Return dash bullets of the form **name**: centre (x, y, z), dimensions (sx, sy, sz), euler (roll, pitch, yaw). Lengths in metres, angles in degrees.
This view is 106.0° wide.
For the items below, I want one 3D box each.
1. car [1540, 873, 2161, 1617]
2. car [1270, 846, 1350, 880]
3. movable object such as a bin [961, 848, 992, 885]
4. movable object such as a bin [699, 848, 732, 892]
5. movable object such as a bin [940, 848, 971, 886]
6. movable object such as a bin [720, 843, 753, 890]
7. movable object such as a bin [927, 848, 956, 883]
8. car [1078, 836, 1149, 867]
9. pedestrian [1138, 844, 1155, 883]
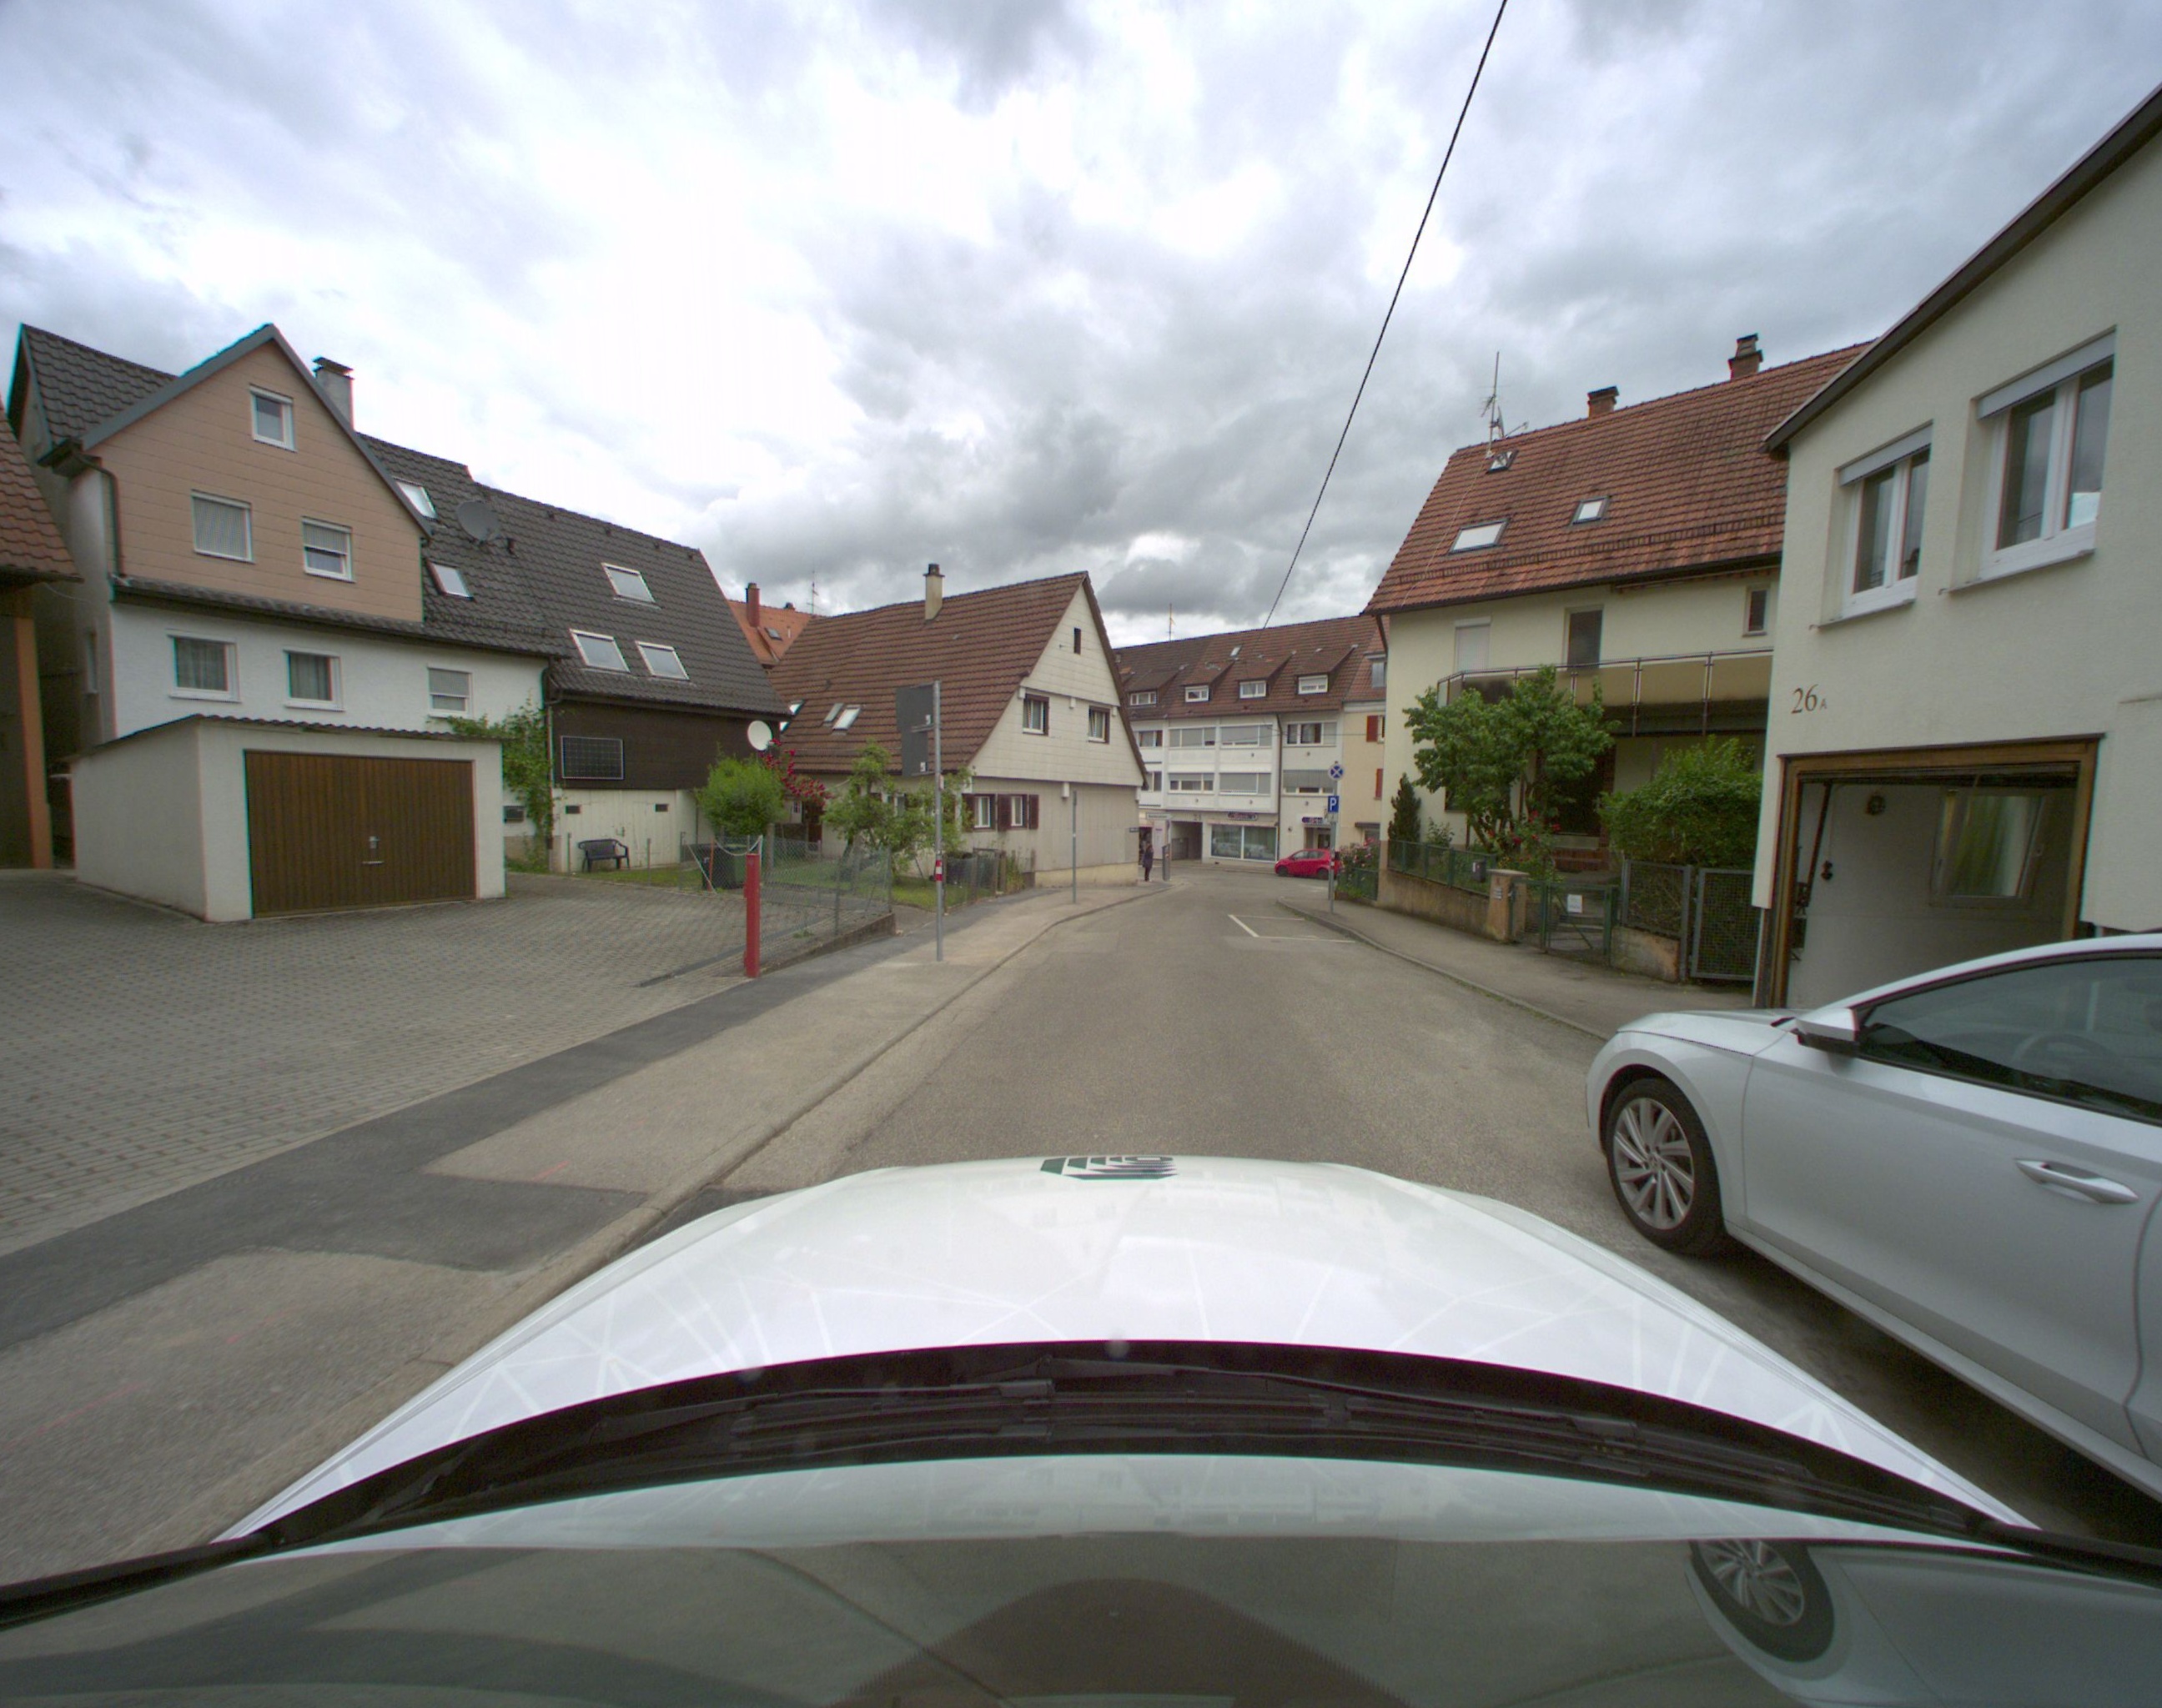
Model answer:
- **car**: centre (3.111, 0.859, 1.858), dimensions (1.788, 1.445, 4.300), euler (3, 0, 2)
- **car**: centre (12.024, 0.443, 42.967), dimensions (1.707, 1.556, 3.650), euler (0, 2, -45)
- **movable object such as a bin**: centre (-2.707, 0.323, 21.053), dimensions (0.522, 0.884, 0.493), euler (6, 0, 33)
- **movable object such as a bin**: centre (-7.551, 0.318, 16.841), dimensions (0.373, 0.893, 0.492), euler (1, 0, 21)
- **movable object such as a bin**: centre (-3.266, 0.336, 21.211), dimensions (0.522, 0.917, 0.493), euler (6, 0, 33)
- **movable object such as a bin**: centre (-7.344, 0.267, 17.358), dimensions (0.395, 0.981, 0.511), euler (0, 0, 21)
- **movable object such as a bin**: centre (-3.690, 0.313, 21.554), dimensions (0.490, 0.878, 0.455), euler (6, 0, 34)
- **car**: centre (2.027, -0.191, 51.937), dimensions (4.315, 1.779, 1.959), euler (3, 3, 44)
- **pedestrian**: centre (2.933, 0.409, 36.470), dimensions (0.642, 1.684, 0.606), euler (2, 1, 10)
